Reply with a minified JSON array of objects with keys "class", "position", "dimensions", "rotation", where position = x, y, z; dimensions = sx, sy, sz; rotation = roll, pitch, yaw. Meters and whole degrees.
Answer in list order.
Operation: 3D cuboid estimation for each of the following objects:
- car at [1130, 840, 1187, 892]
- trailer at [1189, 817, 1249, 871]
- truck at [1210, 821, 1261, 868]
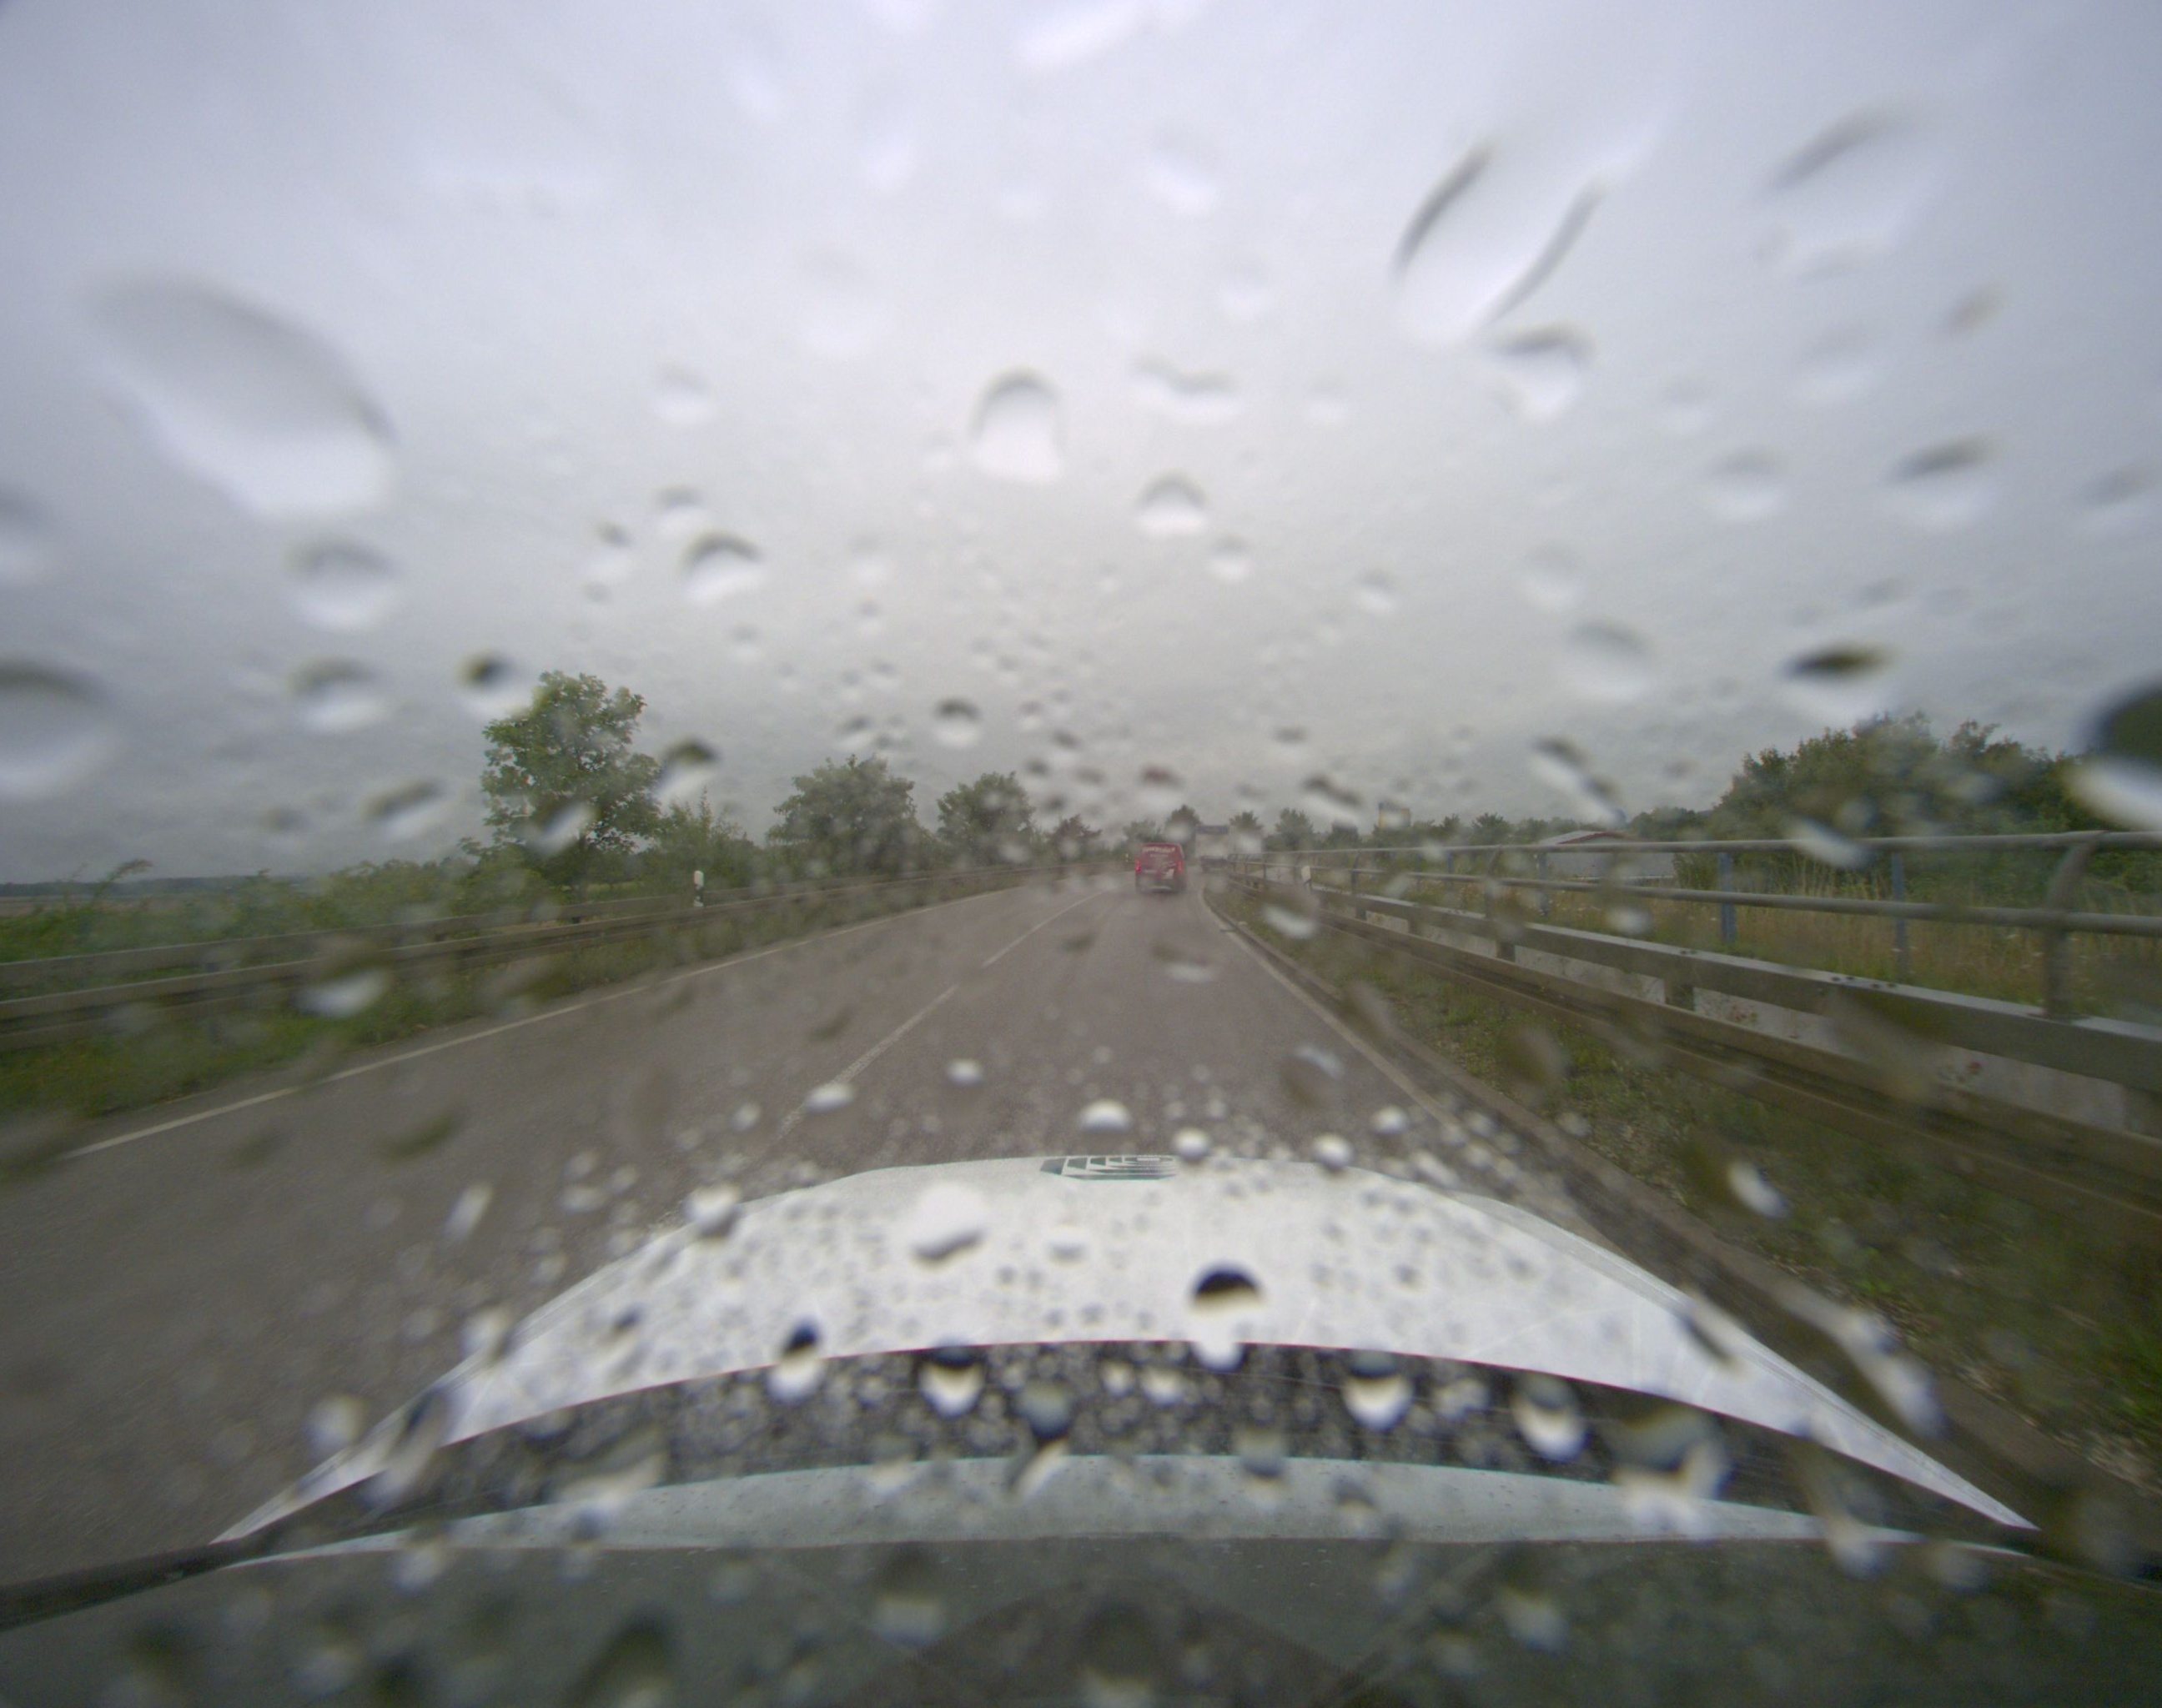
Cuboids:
[{"class":"car","position":[3.154,0.406,32.482],"dimensions":[1.982,1.925,4.154],"rotation":[-1,1,9]},{"class":"trailer","position":[11.031,-0.799,64.411],"dimensions":[3.175,3.921,8.782],"rotation":[1,1,19]},{"class":"truck","position":[13.930,-0.841,72.741],"dimensions":[3.175,3.921,8.782],"rotation":[1,1,19]}]
